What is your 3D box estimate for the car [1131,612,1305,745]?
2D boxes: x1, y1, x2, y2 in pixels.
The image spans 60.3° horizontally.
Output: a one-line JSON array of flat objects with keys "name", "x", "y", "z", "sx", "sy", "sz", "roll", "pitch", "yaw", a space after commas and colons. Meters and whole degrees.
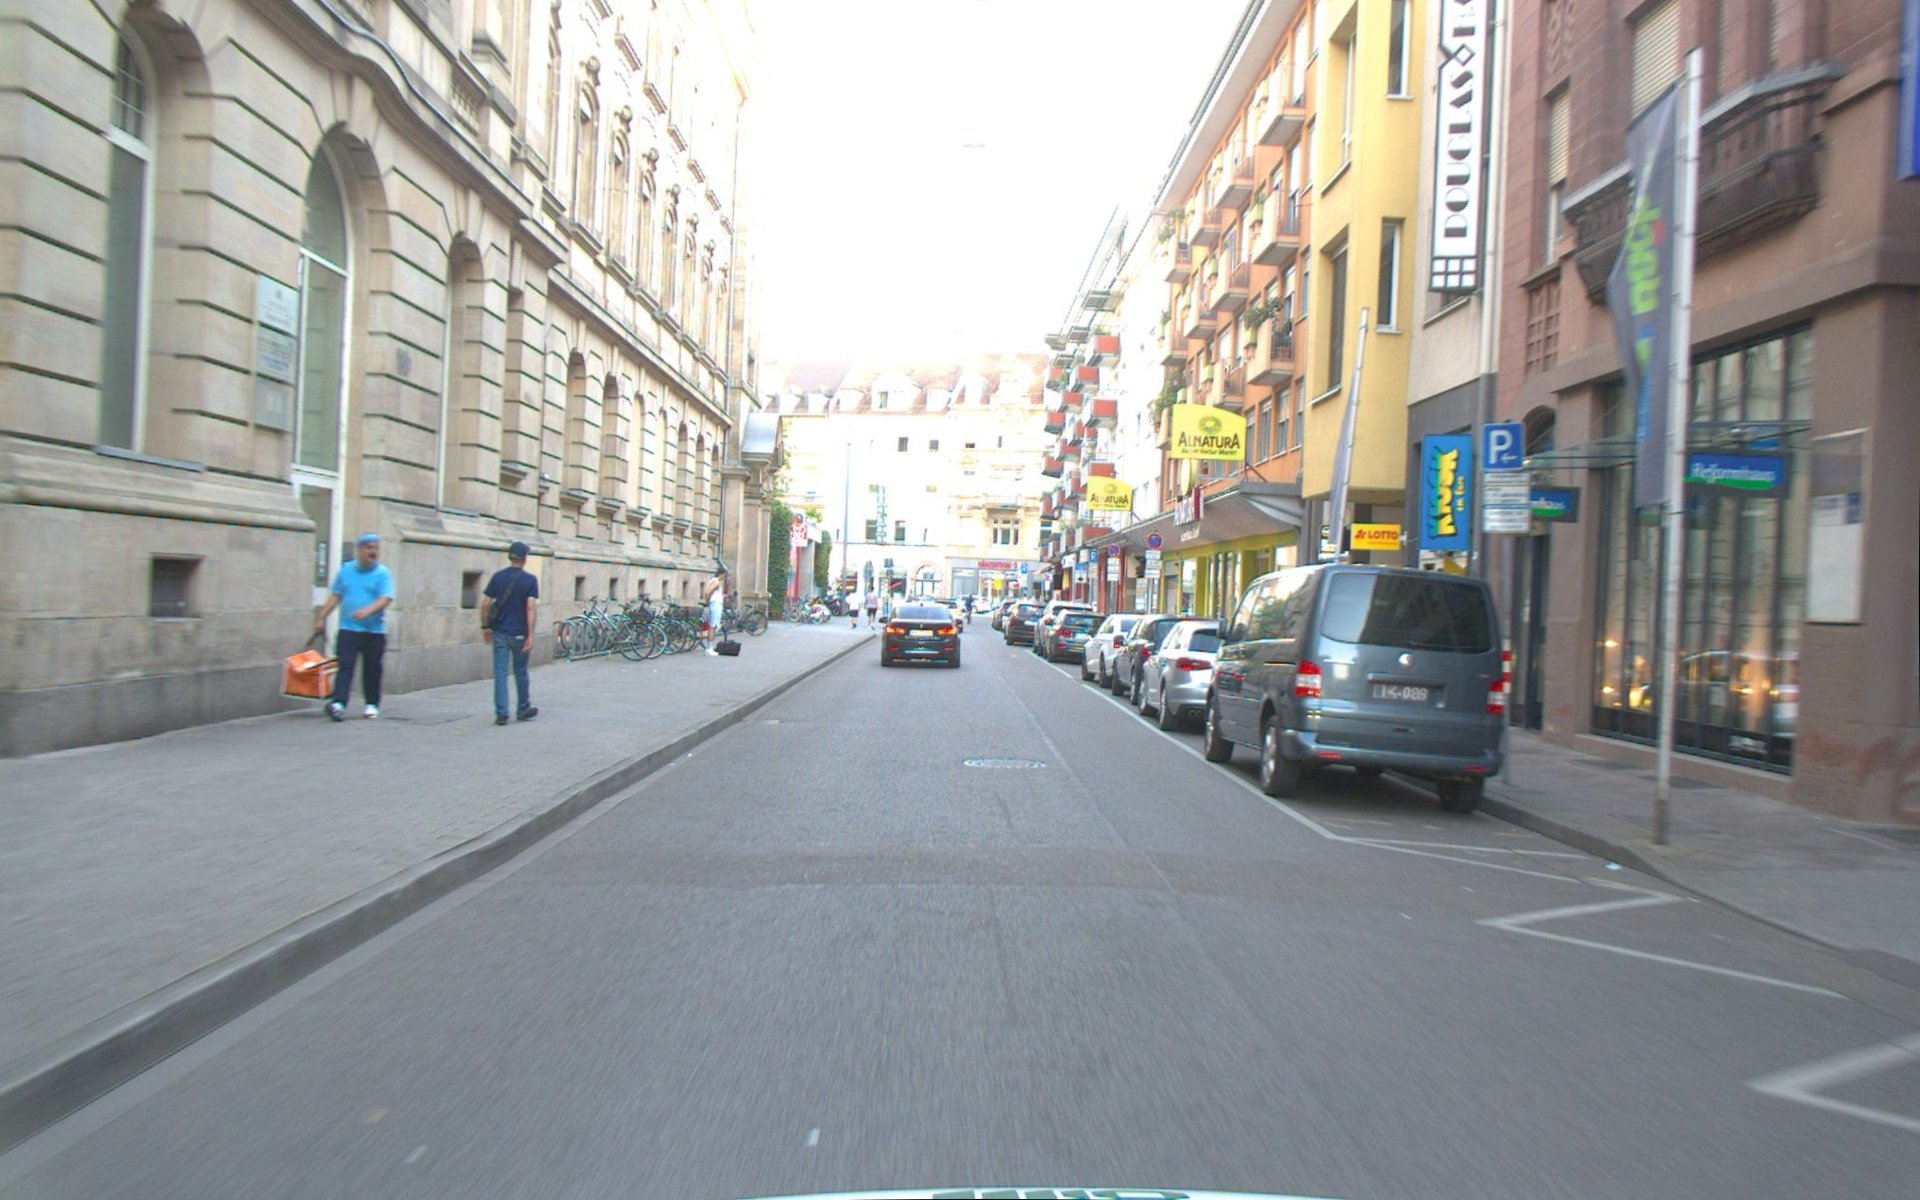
[{"name": "car", "x": 3.454, "y": 0.997, "z": 22.891, "sx": 1.652, "sy": 1.478, "sz": 4.498, "roll": 4, "pitch": 0, "yaw": 1}]

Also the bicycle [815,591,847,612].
[{"name": "bicycle", "x": -7.589, "y": 0.111, "z": 97.528, "sx": 1.757, "sy": 1.127, "sz": 0.500, "roll": 3, "pitch": 0, "yaw": 1}]

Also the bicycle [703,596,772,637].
[{"name": "bicycle", "x": -6.699, "y": 0.500, "z": 49.788, "sx": 1.906, "sy": 1.080, "sz": 0.617, "roll": 5, "pitch": -1, "yaw": -16}]

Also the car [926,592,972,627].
[{"name": "car", "x": -0.479, "y": 0.421, "z": 75.732, "sx": 1.838, "sy": 1.498, "sz": 4.002, "roll": 1, "pitch": 0, "yaw": 3}]

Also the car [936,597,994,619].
[{"name": "car", "x": 0.417, "y": 0.651, "z": 133.659, "sx": 4.263, "sy": 1.589, "sz": 1.868, "roll": 1, "pitch": -1, "yaw": 22}]

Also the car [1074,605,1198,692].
[{"name": "car", "x": 3.443, "y": 0.909, "z": 33.177, "sx": 1.658, "sy": 1.435, "sz": 4.636, "roll": 4, "pitch": 0, "yaw": -3}]

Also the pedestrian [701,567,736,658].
[{"name": "pedestrian", "x": -5.131, "y": 0.264, "z": 35.168, "sx": 0.576, "sy": 1.883, "sz": 0.753, "roll": 4, "pitch": 0, "yaw": -6}]

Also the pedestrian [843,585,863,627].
[{"name": "pedestrian", "x": -4.844, "y": 0.262, "z": 74.620, "sx": 0.726, "sy": 1.844, "sz": 1.008, "roll": 4, "pitch": 0, "yaw": -1}]

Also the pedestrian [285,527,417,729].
[{"name": "pedestrian", "x": -5.641, "y": 0.251, "z": 15.361, "sx": 0.812, "sy": 1.776, "sz": 0.769, "roll": 4, "pitch": 0, "yaw": -1}]

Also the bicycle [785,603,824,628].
[{"name": "bicycle", "x": -7.350, "y": 0.735, "z": 78.197, "sx": 1.758, "sy": 1.127, "sz": 0.500, "roll": 2, "pitch": 0, "yaw": -1}]

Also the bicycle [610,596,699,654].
[{"name": "bicycle", "x": -6.470, "y": 0.527, "z": 35.070, "sx": 1.760, "sy": 1.127, "sz": 0.499, "roll": 4, "pitch": -1, "yaw": -7}]

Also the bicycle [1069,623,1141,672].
[{"name": "bicycle", "x": 3.444, "y": 1.126, "z": 39.180, "sx": 1.723, "sy": 1.074, "sz": 0.649, "roll": 3, "pitch": 0, "yaw": -43}]

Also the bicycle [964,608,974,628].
[{"name": "bicycle", "x": 0.535, "y": 1.056, "z": 98.084, "sx": 0.525, "sy": 1.127, "sz": 1.800, "roll": 3, "pitch": 0, "yaw": 0}]

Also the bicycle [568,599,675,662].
[{"name": "bicycle", "x": -6.470, "y": 0.572, "z": 31.651, "sx": 1.900, "sy": 1.080, "sz": 0.619, "roll": 4, "pitch": -1, "yaw": -7}]

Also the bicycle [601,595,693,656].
[{"name": "bicycle", "x": -6.404, "y": 0.517, "z": 33.871, "sx": 1.760, "sy": 1.127, "sz": 0.499, "roll": 4, "pitch": -1, "yaw": -7}]

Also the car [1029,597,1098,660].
[{"name": "car", "x": 3.145, "y": 0.843, "z": 50.993, "sx": 1.716, "sy": 1.697, "sz": 4.756, "roll": 4, "pitch": 0, "yaw": 0}]

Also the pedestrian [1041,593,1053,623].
[{"name": "pedestrian", "x": 4.893, "y": 0.436, "z": 93.076, "sx": 0.634, "sy": 1.690, "sz": 0.655, "roll": -1, "pitch": 0, "yaw": 1}]

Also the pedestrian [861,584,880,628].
[{"name": "pedestrian", "x": -4.057, "y": 0.281, "z": 74.997, "sx": 0.729, "sy": 1.926, "sz": 1.050, "roll": 3, "pitch": 0, "yaw": 0}]

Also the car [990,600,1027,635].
[{"name": "car", "x": 2.614, "y": 0.928, "z": 89.721, "sx": 1.729, "sy": 1.670, "sz": 4.790, "roll": 4, "pitch": 0, "yaw": -1}]

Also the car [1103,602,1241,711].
[{"name": "car", "x": 3.506, "y": 0.891, "z": 28.006, "sx": 1.586, "sy": 1.542, "sz": 4.172, "roll": 4, "pitch": 0, "yaw": -2}]

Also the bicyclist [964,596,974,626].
[{"name": "bicyclist", "x": 0.552, "y": 0.653, "z": 98.063, "sx": 0.513, "sy": 1.787, "sz": 0.620, "roll": 3, "pitch": 0, "yaw": 0}]

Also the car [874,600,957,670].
[{"name": "car", "x": -0.973, "y": 0.766, "z": 38.304, "sx": 1.729, "sy": 1.399, "sz": 4.790, "roll": 3, "pitch": 0, "yaw": 0}]

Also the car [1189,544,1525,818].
[{"name": "car", "x": 3.541, "y": 0.669, "z": 15.804, "sx": 1.809, "sy": 2.094, "sz": 5.052, "roll": 3, "pitch": -1, "yaw": -1}]

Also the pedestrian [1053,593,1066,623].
[{"name": "pedestrian", "x": 5.601, "y": 0.454, "z": 93.029, "sx": 0.634, "sy": 1.690, "sz": 0.794, "roll": -1, "pitch": 0, "yaw": 1}]

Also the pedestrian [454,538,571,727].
[{"name": "pedestrian", "x": -4.425, "y": 0.318, "z": 16.421, "sx": 0.793, "sy": 1.781, "sz": 0.969, "roll": 3, "pitch": -1, "yaw": -1}]

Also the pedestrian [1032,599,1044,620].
[{"name": "pedestrian", "x": 4.852, "y": 0.617, "z": 103.450, "sx": 0.672, "sy": 1.309, "sz": 0.609, "roll": 0, "pitch": -1, "yaw": 9}]

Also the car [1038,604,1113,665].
[{"name": "car", "x": 3.165, "y": 0.914, "z": 46.025, "sx": 1.657, "sy": 1.439, "sz": 4.756, "roll": 4, "pitch": 0, "yaw": 0}]

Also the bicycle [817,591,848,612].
[{"name": "bicycle", "x": -7.576, "y": 0.109, "z": 98.278, "sx": 1.760, "sy": 1.127, "sz": 0.499, "roll": 4, "pitch": 0, "yaw": -6}]

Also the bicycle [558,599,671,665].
[{"name": "bicycle", "x": -6.340, "y": 0.585, "z": 30.404, "sx": 1.898, "sy": 1.080, "sz": 0.619, "roll": 3, "pitch": -1, "yaw": -2}]

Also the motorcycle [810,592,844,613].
[{"name": "motorcycle", "x": -7.684, "y": 0.151, "z": 95.499, "sx": 1.765, "sy": 1.082, "sz": 0.764, "roll": 3, "pitch": 0, "yaw": 25}]

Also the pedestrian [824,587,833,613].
[{"name": "pedestrian", "x": -8.825, "y": 0.000, "z": 111.273, "sx": 0.490, "sy": 1.672, "sz": 0.521, "roll": 1, "pitch": 0, "yaw": 1}]

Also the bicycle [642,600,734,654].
[{"name": "bicycle", "x": -6.064, "y": 0.600, "z": 36.933, "sx": 1.899, "sy": 1.080, "sz": 0.619, "roll": 3, "pitch": -1, "yaw": -3}]

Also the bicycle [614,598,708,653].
[{"name": "bicycle", "x": -6.473, "y": 0.553, "z": 35.884, "sx": 1.900, "sy": 1.080, "sz": 0.619, "roll": 4, "pitch": -1, "yaw": -7}]

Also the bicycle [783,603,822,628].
[{"name": "bicycle", "x": -7.480, "y": 0.733, "z": 78.541, "sx": 1.758, "sy": 1.127, "sz": 0.500, "roll": 2, "pitch": 0, "yaw": -2}]

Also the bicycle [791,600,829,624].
[{"name": "bicycle", "x": -7.319, "y": 0.584, "z": 80.720, "sx": 1.757, "sy": 1.127, "sz": 0.500, "roll": 3, "pitch": 0, "yaw": 2}]

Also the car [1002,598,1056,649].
[{"name": "car", "x": 2.547, "y": 0.827, "z": 60.231, "sx": 1.757, "sy": 1.637, "sz": 4.488, "roll": 4, "pitch": 0, "yaw": 4}]
